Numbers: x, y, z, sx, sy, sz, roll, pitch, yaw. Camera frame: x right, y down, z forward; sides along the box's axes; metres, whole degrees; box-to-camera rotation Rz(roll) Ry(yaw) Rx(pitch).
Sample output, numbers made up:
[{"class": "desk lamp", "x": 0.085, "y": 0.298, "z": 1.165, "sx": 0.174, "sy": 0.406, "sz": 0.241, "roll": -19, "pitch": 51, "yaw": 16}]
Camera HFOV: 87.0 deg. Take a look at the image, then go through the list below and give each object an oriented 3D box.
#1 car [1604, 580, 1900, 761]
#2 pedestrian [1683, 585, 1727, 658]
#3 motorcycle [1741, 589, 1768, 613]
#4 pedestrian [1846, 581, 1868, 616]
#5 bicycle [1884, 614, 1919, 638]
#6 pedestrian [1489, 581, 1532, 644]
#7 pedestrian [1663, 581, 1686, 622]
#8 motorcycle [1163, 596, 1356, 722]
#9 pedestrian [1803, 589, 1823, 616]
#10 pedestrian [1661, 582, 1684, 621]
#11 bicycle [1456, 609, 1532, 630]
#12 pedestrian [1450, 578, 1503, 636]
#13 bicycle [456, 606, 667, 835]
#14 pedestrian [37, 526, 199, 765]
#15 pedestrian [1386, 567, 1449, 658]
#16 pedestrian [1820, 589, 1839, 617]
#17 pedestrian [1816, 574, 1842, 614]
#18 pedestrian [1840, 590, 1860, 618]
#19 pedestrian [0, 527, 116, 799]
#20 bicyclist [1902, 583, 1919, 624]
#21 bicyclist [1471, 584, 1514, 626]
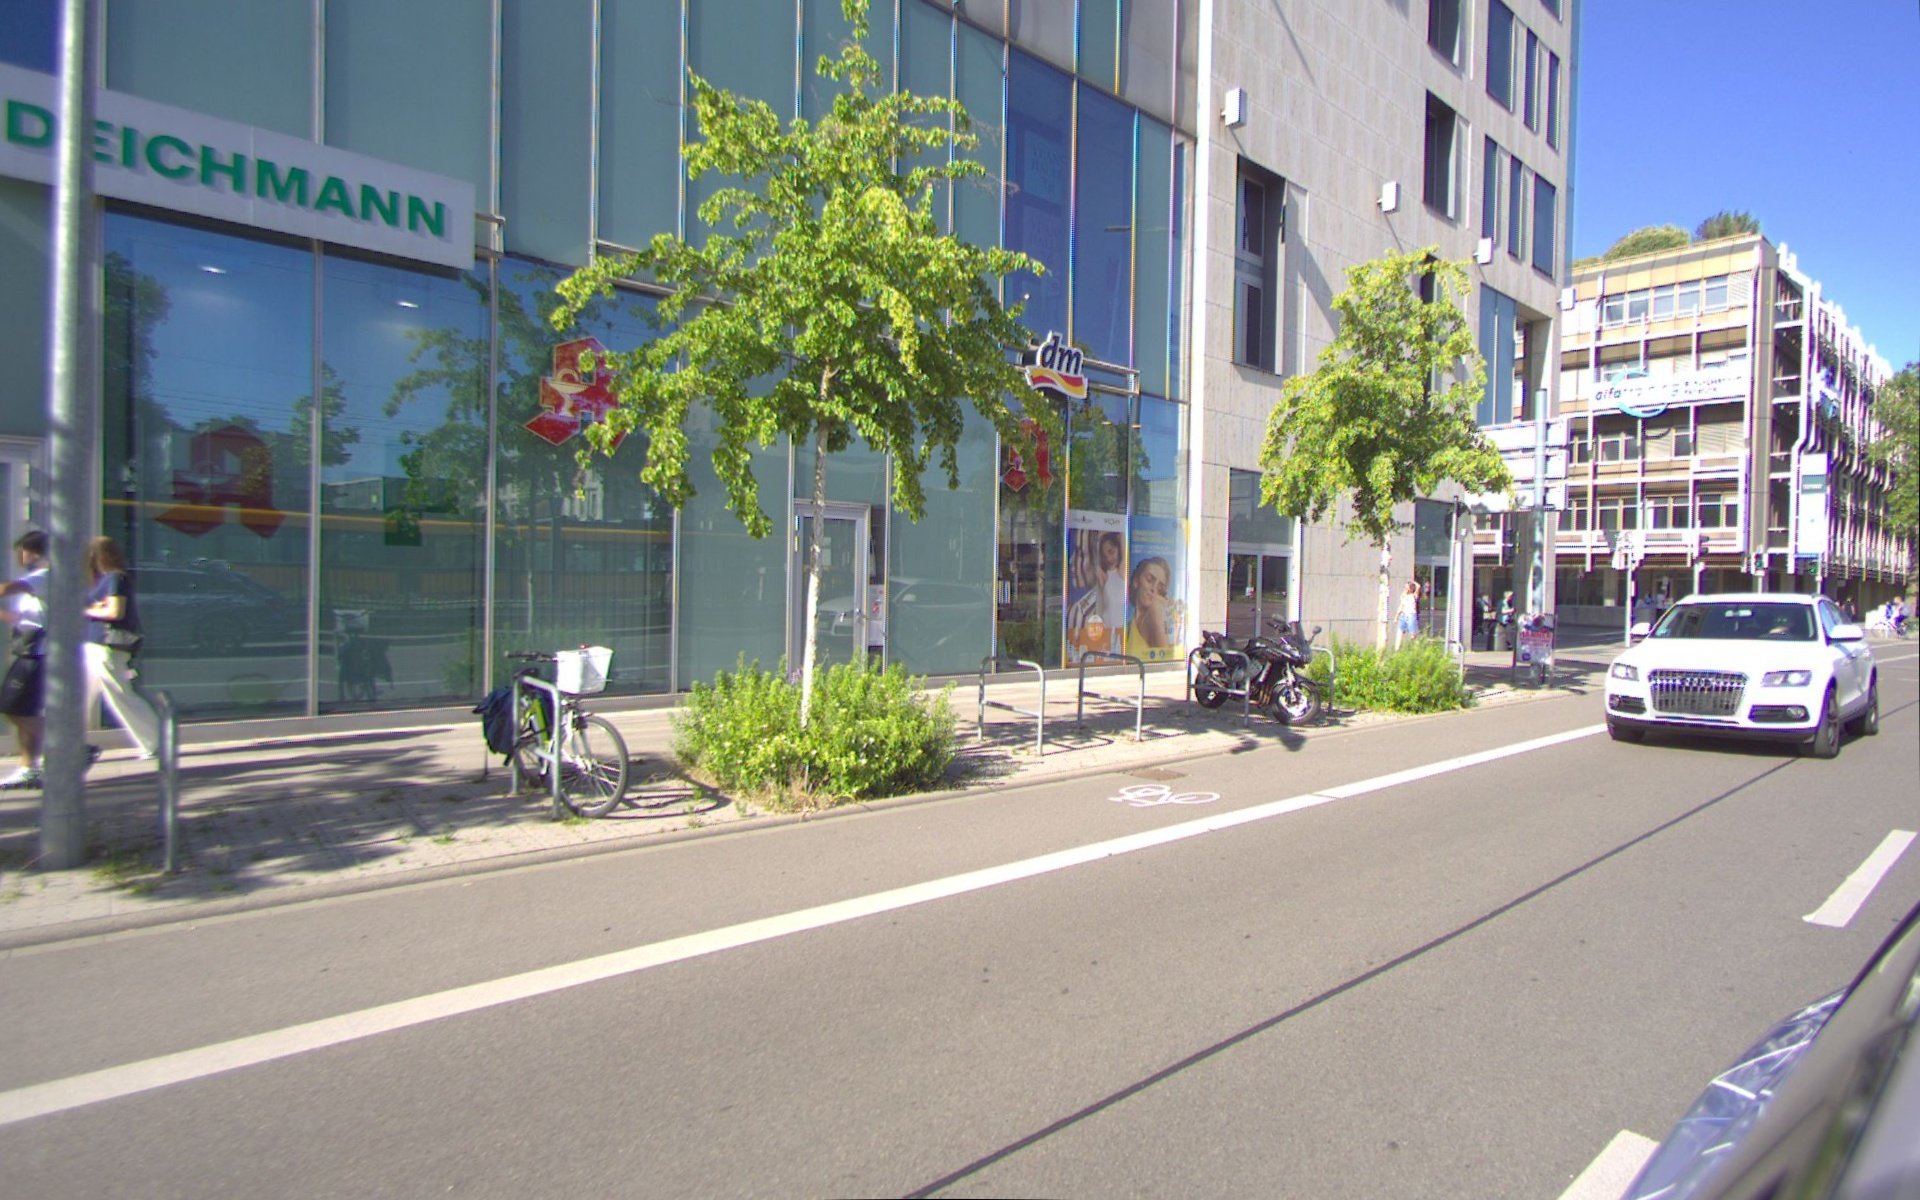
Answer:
[{"class": "car", "x": 8.937, "y": 0.637, "z": 11.284, "sx": 4.335, "sy": 1.634, "sz": 1.823, "roll": 0, "pitch": 0, "yaw": -41}, {"class": "pedestrian", "x": 18.182, "y": 0.515, "z": 24.695, "sx": 0.686, "sy": 1.723, "sz": 0.658, "roll": 1, "pitch": 3, "yaw": -42}, {"class": "motorcycle", "x": 48.430, "y": 0.066, "z": 61.676, "sx": 2.084, "sy": 1.459, "sz": 0.825, "roll": 0, "pitch": 1, "yaw": -40}, {"class": "pedestrian", "x": 52.005, "y": -0.091, "z": 58.673, "sx": 0.946, "sy": 2.039, "sz": 1.063, "roll": 1, "pitch": 0, "yaw": 43}, {"class": "bicycle", "x": 40.298, "y": 1.075, "z": 42.603, "sx": 1.898, "sy": 1.006, "sz": 0.707, "roll": -1, "pitch": -1, "yaw": 19}, {"class": "pedestrian", "x": 14.603, "y": 0.323, "z": 26.850, "sx": 0.736, "sy": 1.628, "sz": 0.725, "roll": 2, "pitch": 0, "yaw": -39}, {"class": "pedestrian", "x": 29.677, "y": 0.054, "z": 42.056, "sx": 0.659, "sy": 1.632, "sz": 0.519, "roll": 4, "pitch": 3, "yaw": 41}, {"class": "motorcycle", "x": 3.672, "y": 0.666, "z": 12.620, "sx": 0.886, "sy": 1.340, "sz": 2.196, "roll": 0, "pitch": 2, "yaw": -36}, {"class": "pedestrian", "x": 52.231, "y": 0.135, "z": 61.975, "sx": 0.991, "sy": 1.620, "sz": 0.668, "roll": 1, "pitch": 3, "yaw": -40}, {"class": "pedestrian", "x": 29.997, "y": 0.058, "z": 42.623, "sx": 0.659, "sy": 1.632, "sz": 0.519, "roll": 4, "pitch": 3, "yaw": 41}, {"class": "bicycle", "x": 19.372, "y": 0.696, "z": 36.762, "sx": 1.052, "sy": 0.679, "sz": 2.200, "roll": 0, "pitch": 1, "yaw": -36}, {"class": "pedestrian", "x": 16.995, "y": 0.220, "z": 33.307, "sx": 1.496, "sy": 1.823, "sz": 0.969, "roll": 0, "pitch": 3, "yaw": -40}, {"class": "bicycle", "x": -2.820, "y": 0.708, "z": 7.000, "sx": 0.932, "sy": 1.220, "sz": 2.094, "roll": 0, "pitch": 2, "yaw": -34}, {"class": "pedestrian", "x": -6.369, "y": 0.302, "z": 7.659, "sx": 0.885, "sy": 1.678, "sz": 0.707, "roll": 0, "pitch": 3, "yaw": -45}, {"class": "pedestrian", "x": 9.571, "y": 0.245, "z": 21.169, "sx": 1.047, "sy": 1.823, "sz": 0.729, "roll": 0, "pitch": 3, "yaw": -40}, {"class": "pedestrian", "x": 52.642, "y": 0.166, "z": 61.298, "sx": 0.715, "sy": 1.620, "sz": 0.668, "roll": 1, "pitch": 3, "yaw": -39}, {"class": "pedestrian", "x": 45.153, "y": -0.294, "z": 52.598, "sx": 0.945, "sy": 2.039, "sz": 1.064, "roll": 2, "pitch": 1, "yaw": 39}, {"class": "pedestrian", "x": 53.115, "y": 0.240, "z": 60.392, "sx": 0.715, "sy": 1.620, "sz": 0.668, "roll": 1, "pitch": 3, "yaw": -39}, {"class": "pedestrian", "x": -6.133, "y": 0.370, "z": 6.612, "sx": 0.885, "sy": 1.678, "sz": 0.822, "roll": 0, "pitch": 3, "yaw": -44}, {"class": "bicyclist", "x": 40.406, "y": 0.148, "z": 42.590, "sx": 0.841, "sy": 1.709, "sz": 0.707, "roll": -1, "pitch": -1, "yaw": 19}, {"class": "bicyclist", "x": 19.349, "y": 0.182, "z": 36.782, "sx": 1.052, "sy": 1.494, "sz": 1.025, "roll": 1, "pitch": 1, "yaw": -36}]
